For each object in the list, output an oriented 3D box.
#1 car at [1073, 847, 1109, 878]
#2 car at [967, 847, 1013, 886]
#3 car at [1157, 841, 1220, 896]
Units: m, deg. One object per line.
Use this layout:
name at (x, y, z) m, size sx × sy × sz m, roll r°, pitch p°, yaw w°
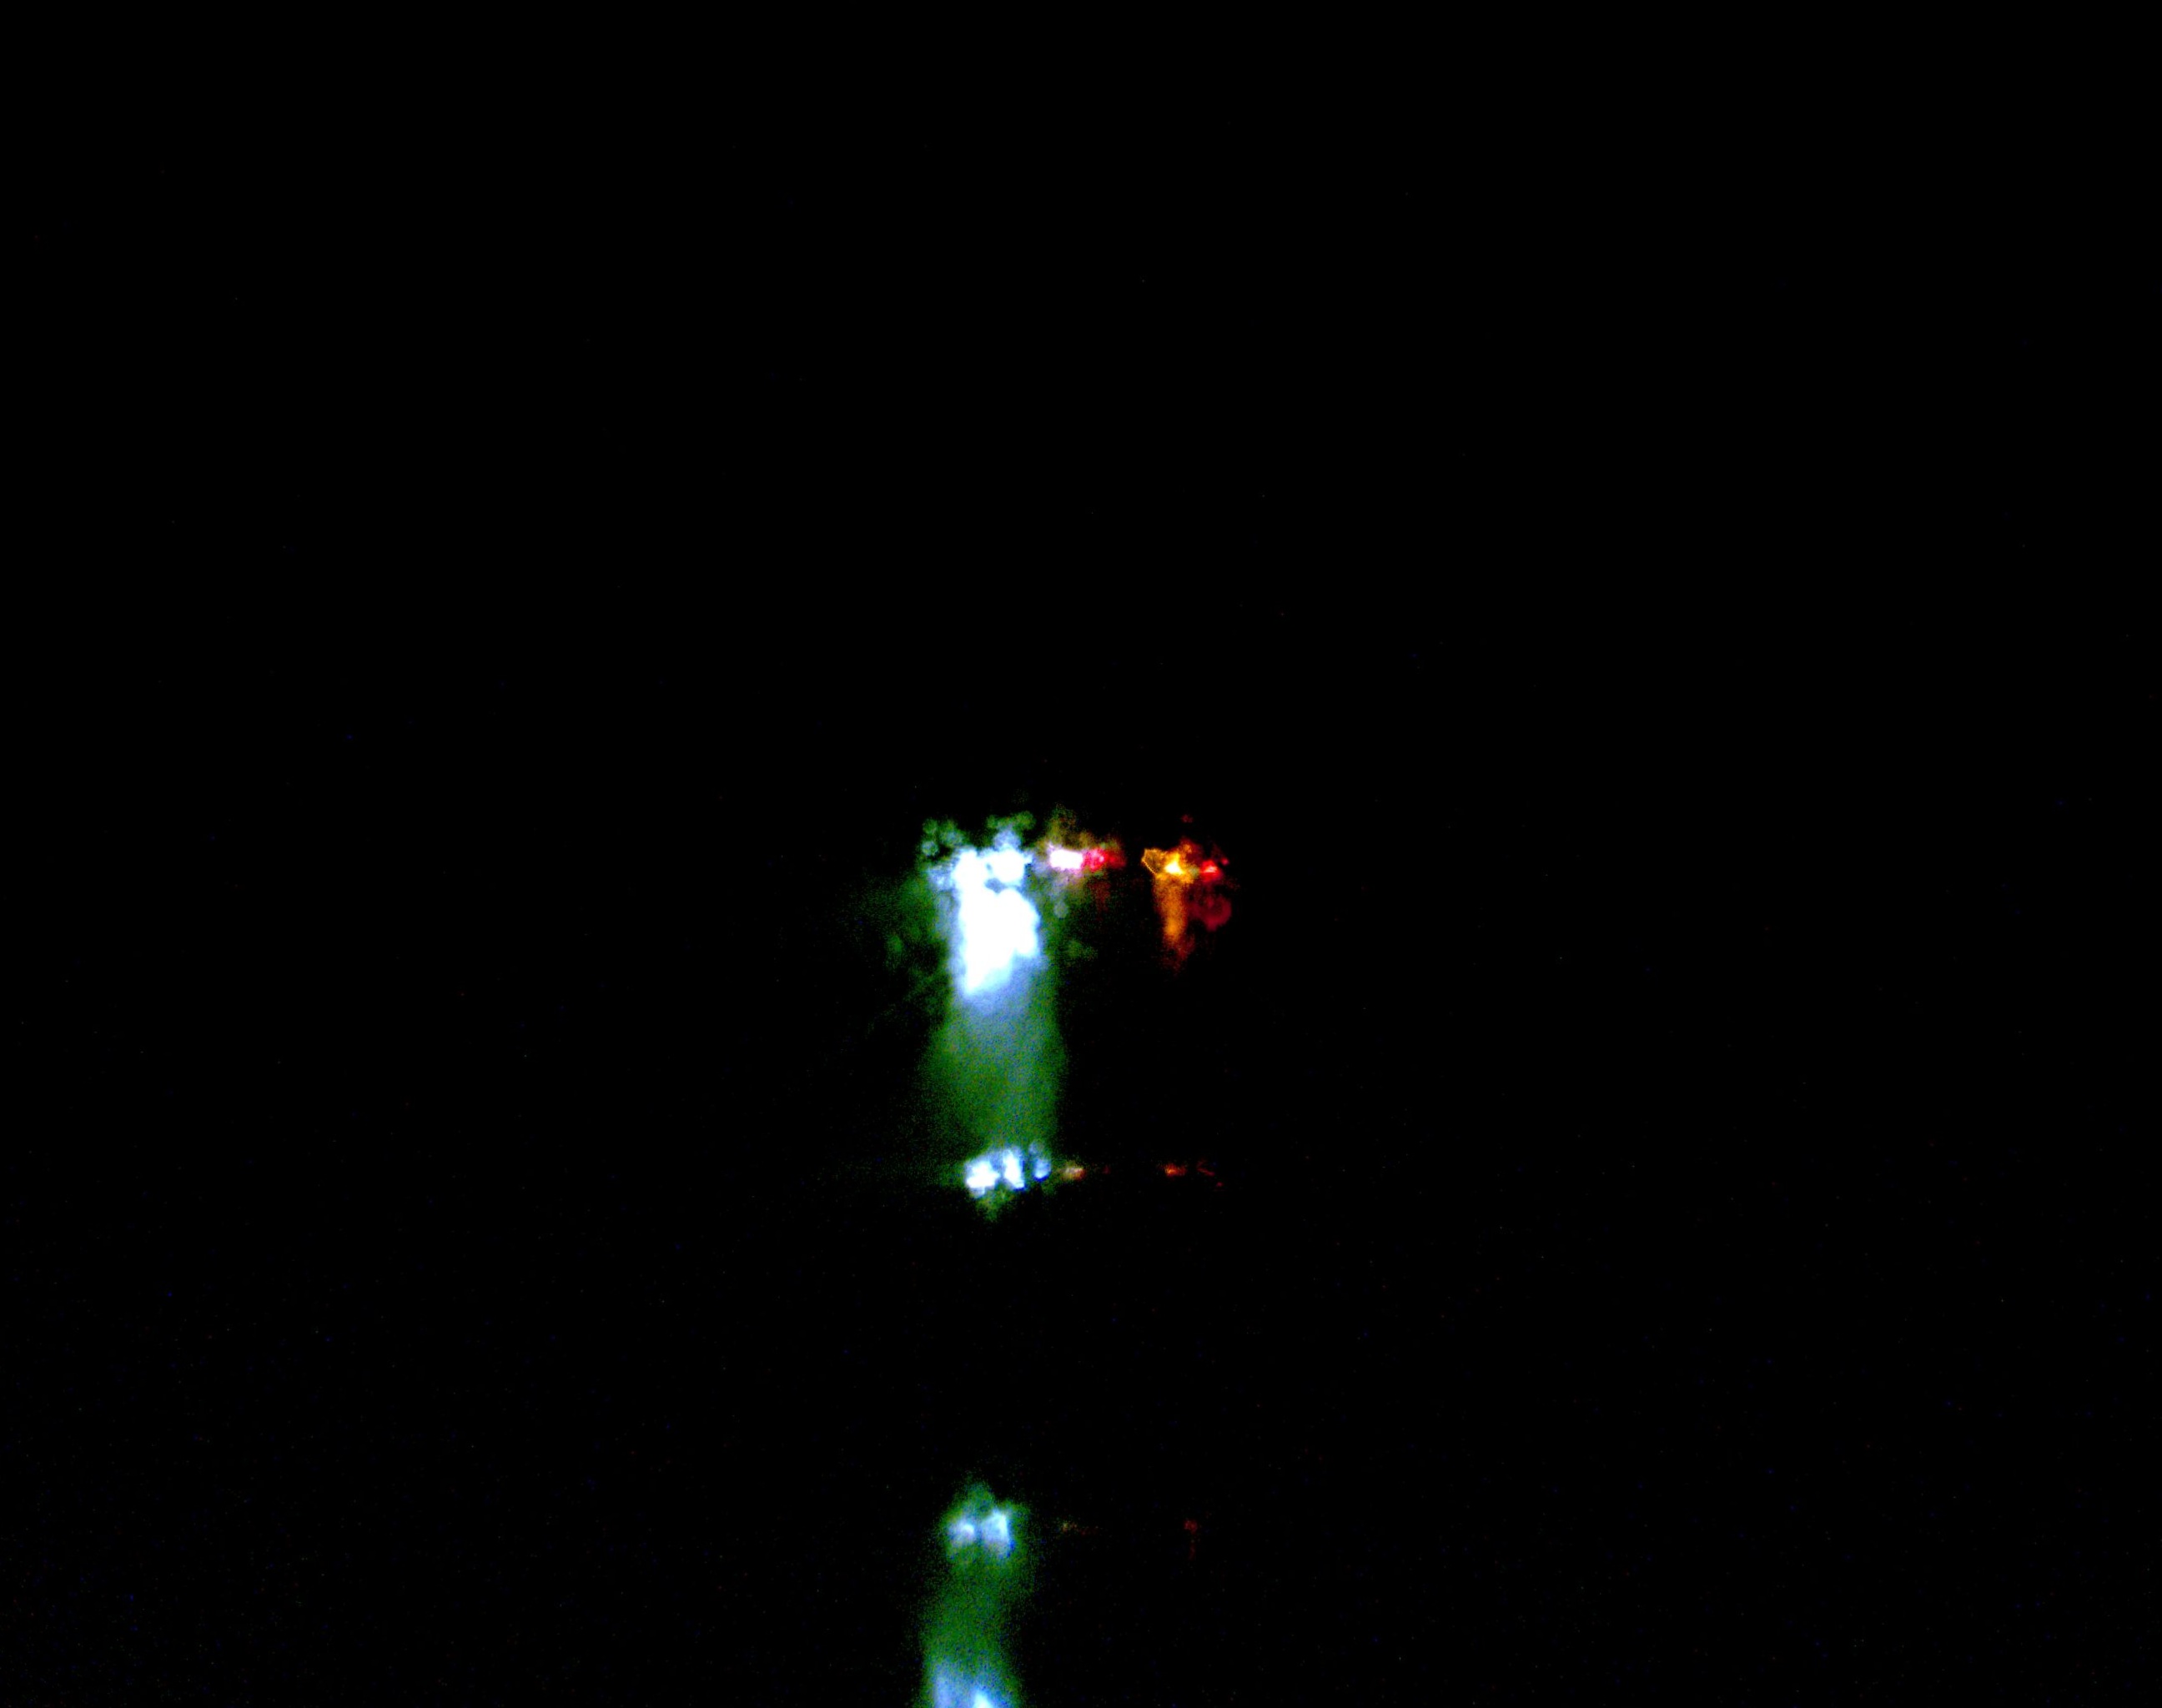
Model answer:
car at (0.531, 0.442, 44.366) m, size 1.803 × 1.621 × 4.000 m, roll -1°, pitch 0°, yaw 0°
car at (-4.004, 0.519, 36.263) m, size 1.805 × 1.621 × 3.995 m, roll -1°, pitch 0°, yaw -4°
car at (4.091, 0.522, 31.603) m, size 2.085 × 2.013 × 4.003 m, roll 0°, pitch 0°, yaw 2°
